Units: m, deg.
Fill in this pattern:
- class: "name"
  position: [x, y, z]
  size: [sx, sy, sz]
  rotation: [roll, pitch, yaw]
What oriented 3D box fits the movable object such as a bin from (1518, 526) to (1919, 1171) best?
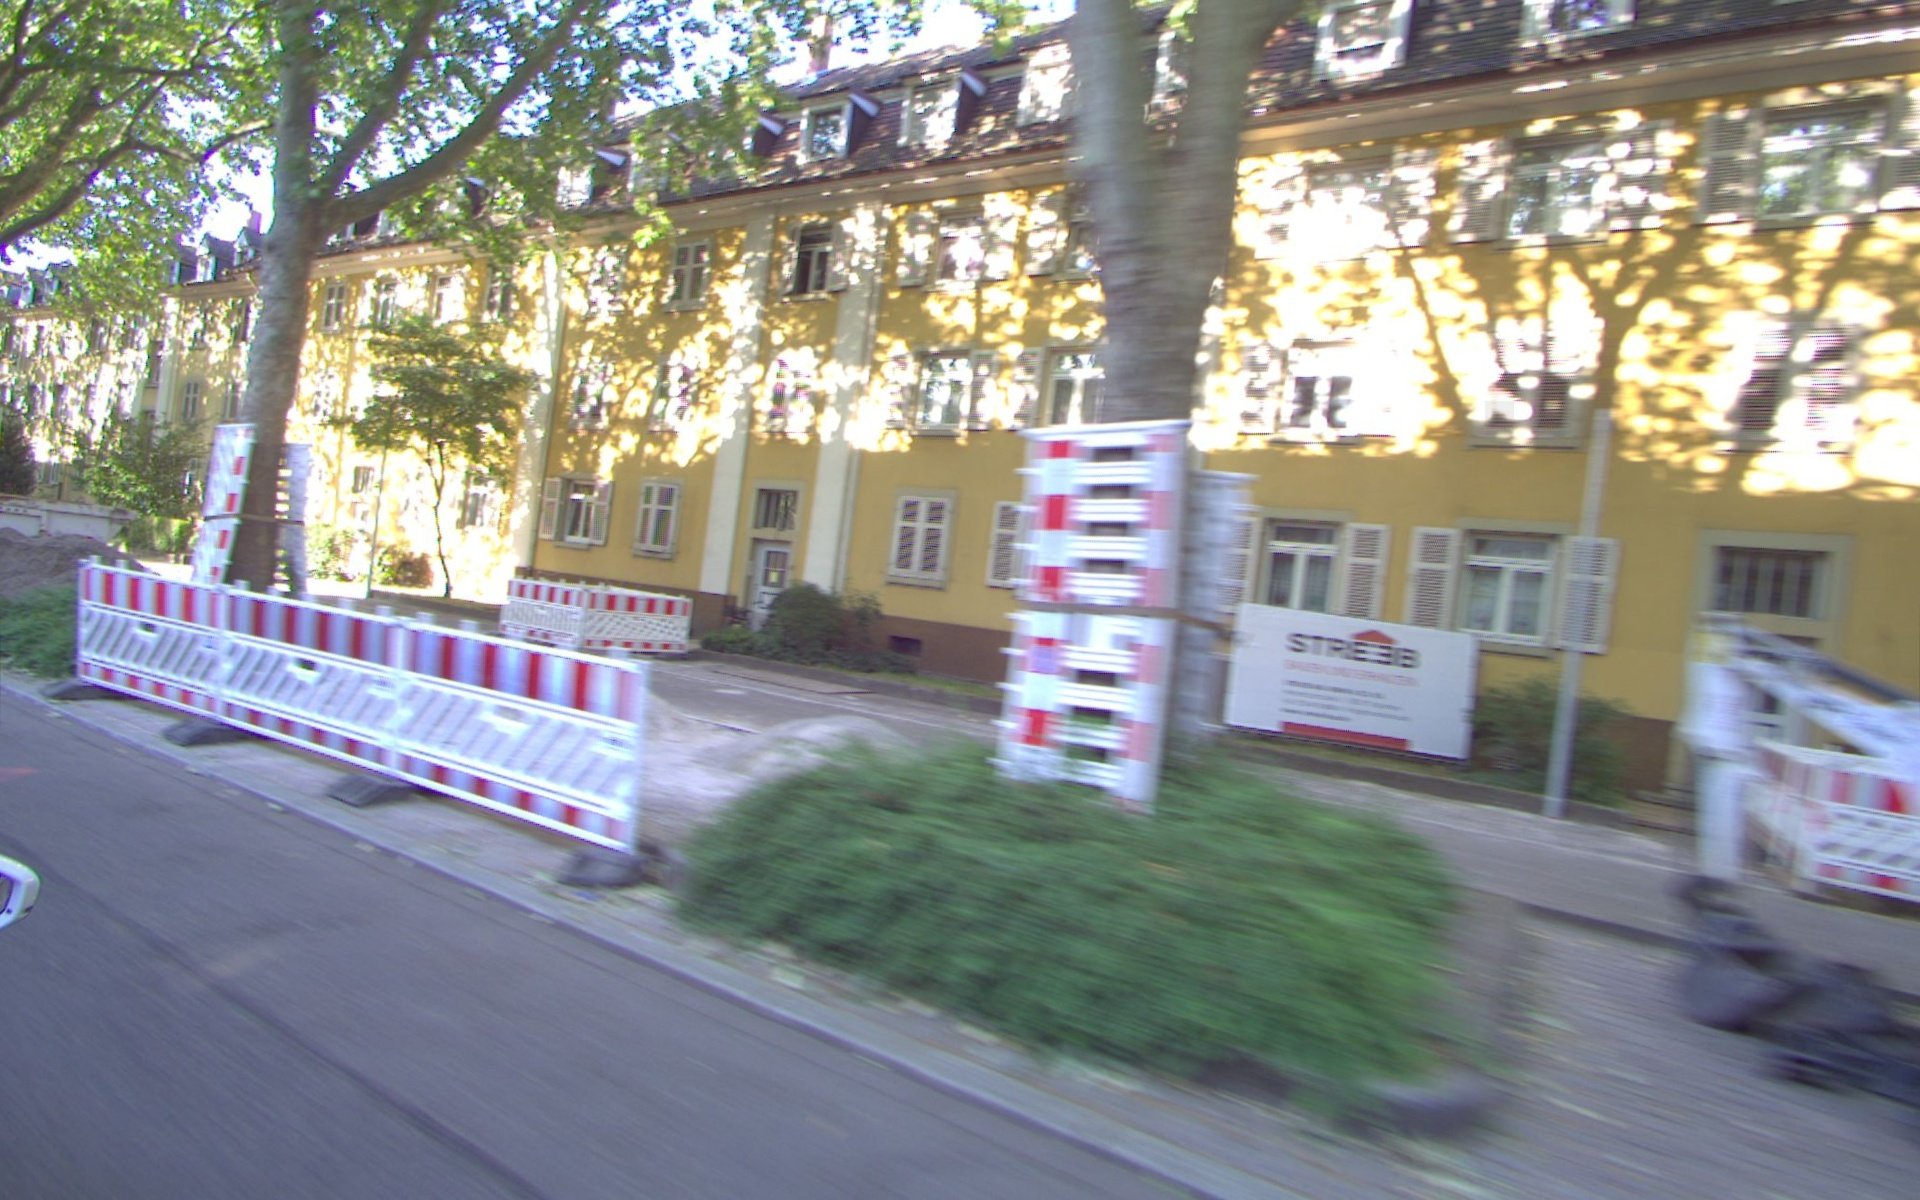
- class: "movable object such as a bin"
  position: [4.215, 0.973, 3.781]
  size: [1.468, 2.296, 3.257]
  rotation: [8, -1, -25]
